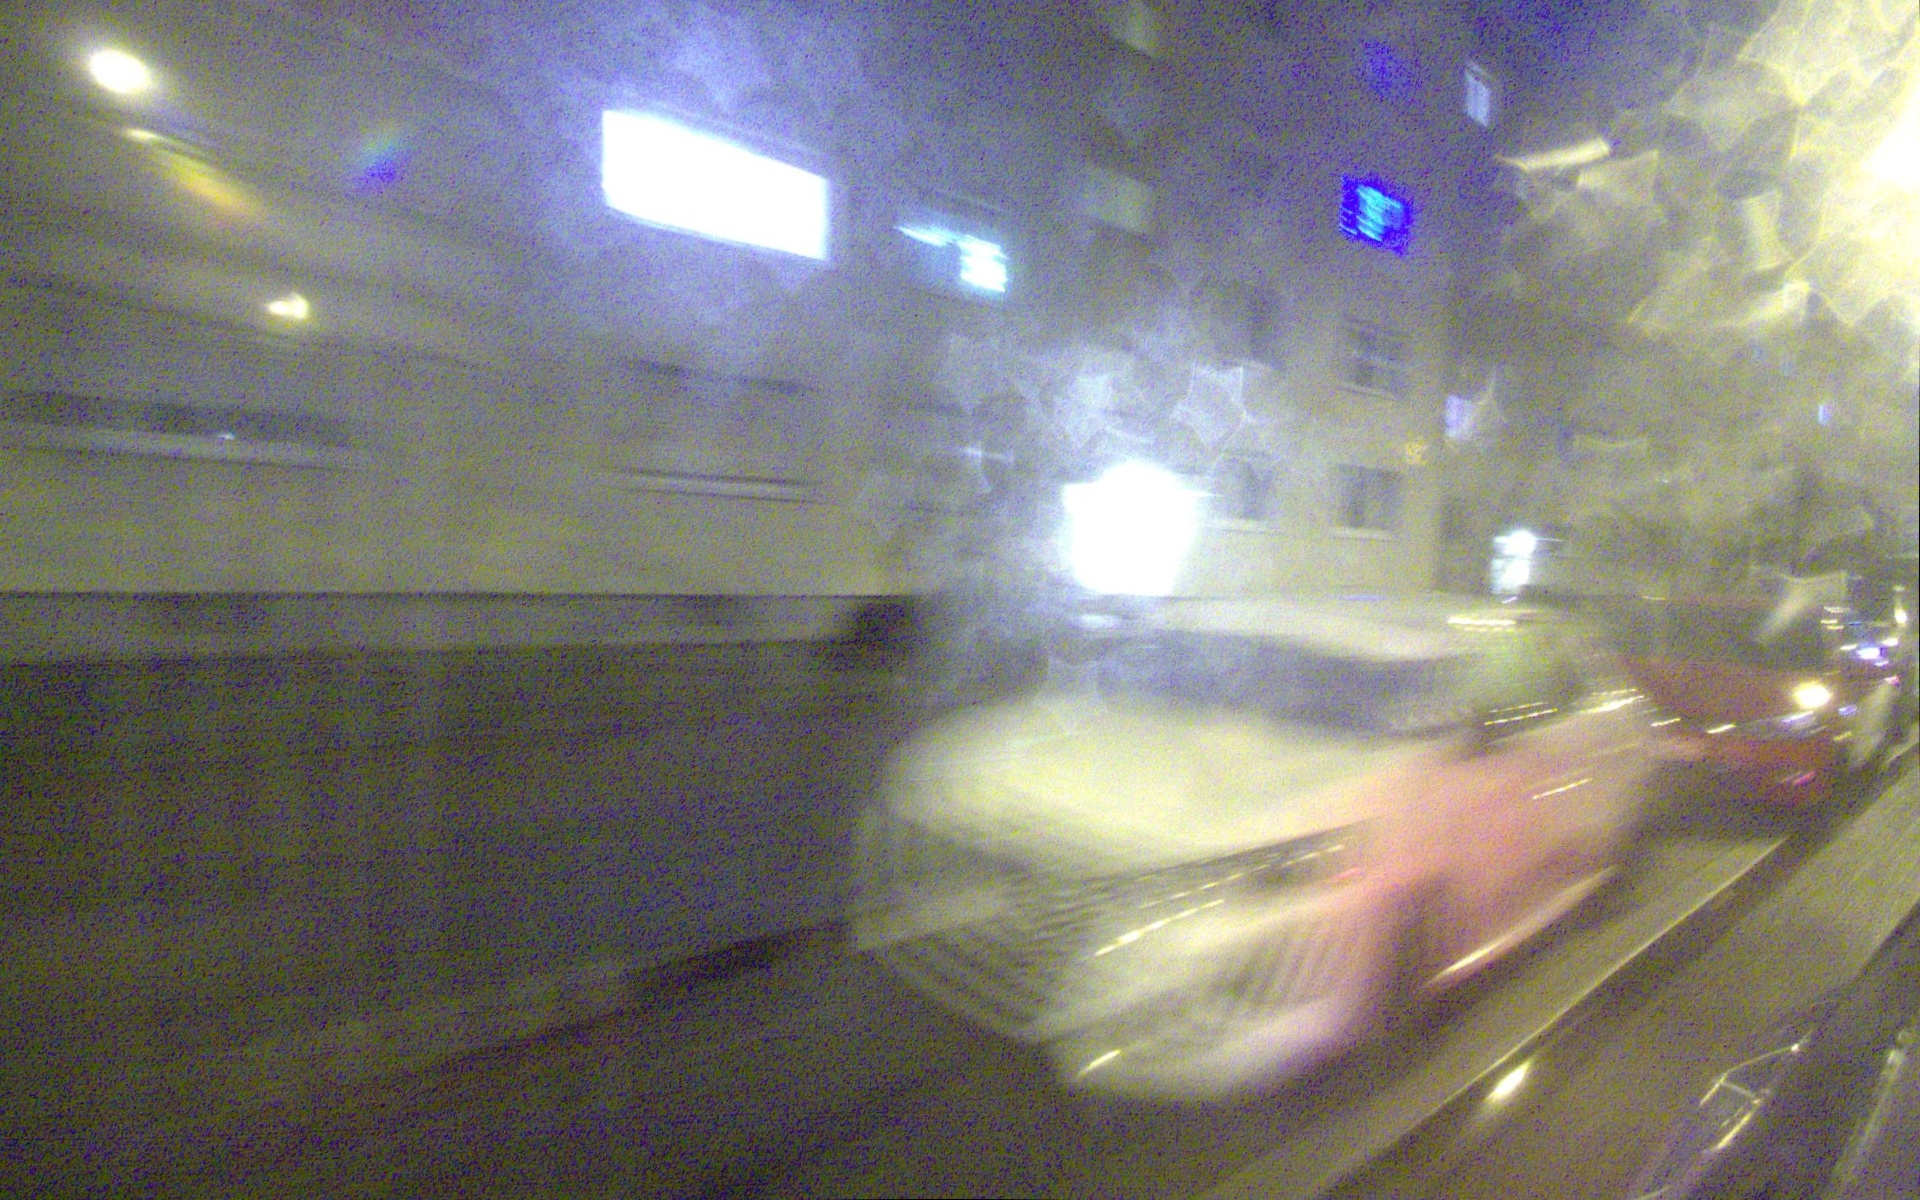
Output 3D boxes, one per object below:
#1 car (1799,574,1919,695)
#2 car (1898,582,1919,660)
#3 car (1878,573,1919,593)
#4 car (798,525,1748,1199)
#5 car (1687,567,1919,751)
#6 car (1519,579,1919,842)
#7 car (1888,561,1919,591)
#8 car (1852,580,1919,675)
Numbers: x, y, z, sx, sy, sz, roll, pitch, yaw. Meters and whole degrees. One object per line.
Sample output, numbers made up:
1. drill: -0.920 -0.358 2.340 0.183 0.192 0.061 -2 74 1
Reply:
1. car: 14.464 0.462 15.387 4.964 1.549 1.803 0 4 -42
2. car: 21.690 0.475 21.580 4.888 1.566 1.759 0 4 -40
3. car: 80.507 -1.396 85.801 1.636 1.474 3.664 0 4 -40
4. car: 1.794 0.565 4.530 4.700 1.549 1.826 0 4 -42
5. car: 10.205 0.531 11.767 4.410 1.657 1.826 0 4 -42
6. car: 6.328 0.626 8.074 4.410 1.439 1.826 0 4 -42
7. car: 86.071 -2.086 90.545 1.767 2.649 4.032 1 4 -33
8. car: 18.156 0.504 18.601 4.273 1.566 1.830 0 4 -38
